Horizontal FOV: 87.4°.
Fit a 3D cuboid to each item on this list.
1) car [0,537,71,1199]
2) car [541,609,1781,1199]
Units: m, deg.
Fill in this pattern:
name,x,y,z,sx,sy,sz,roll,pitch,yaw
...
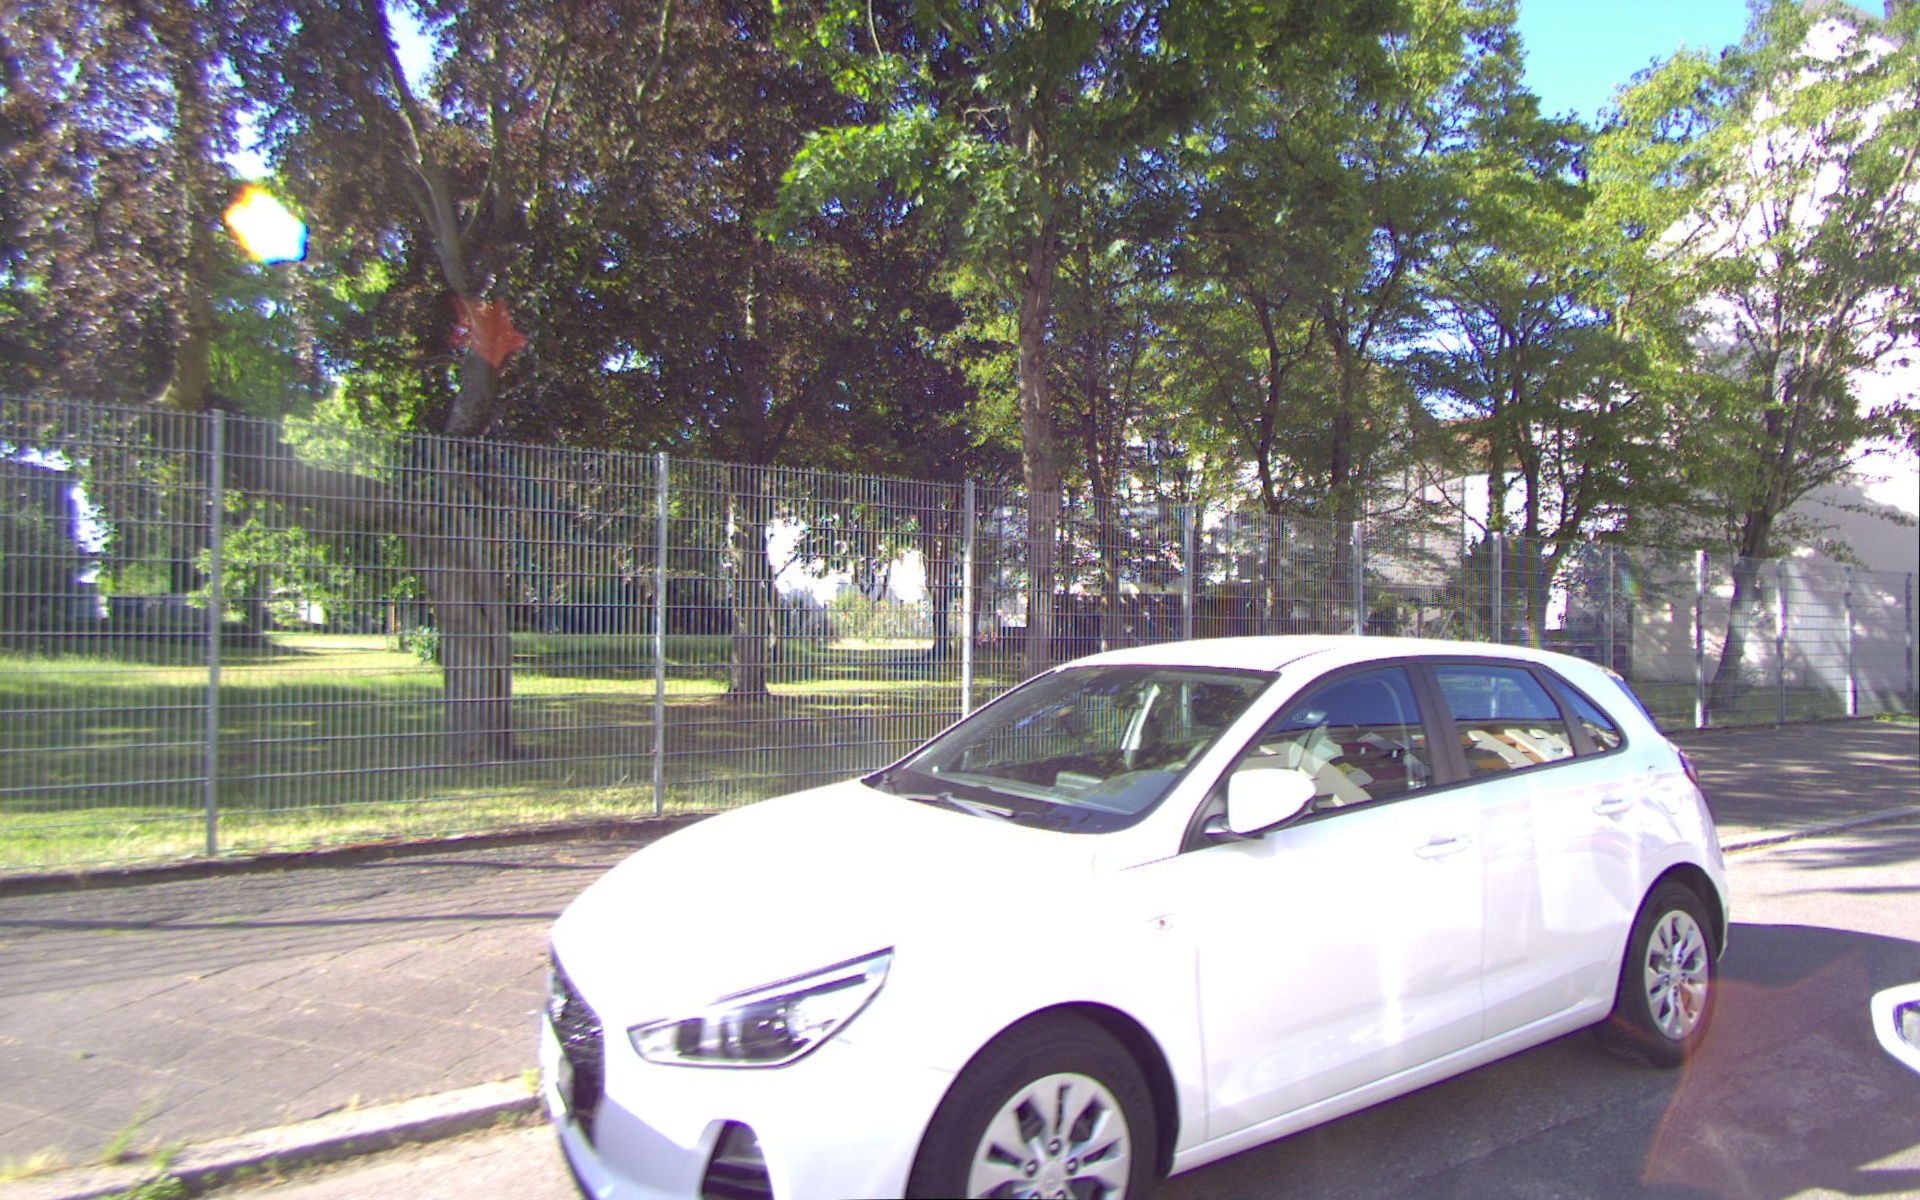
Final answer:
name,x,y,z,sx,sy,sz,roll,pitch,yaw
car,-3.495,0.636,1.026,3.574,1.664,1.556,2,-5,-31
car,0.847,0.835,3.502,4.071,1.463,1.786,1,-3,-30
